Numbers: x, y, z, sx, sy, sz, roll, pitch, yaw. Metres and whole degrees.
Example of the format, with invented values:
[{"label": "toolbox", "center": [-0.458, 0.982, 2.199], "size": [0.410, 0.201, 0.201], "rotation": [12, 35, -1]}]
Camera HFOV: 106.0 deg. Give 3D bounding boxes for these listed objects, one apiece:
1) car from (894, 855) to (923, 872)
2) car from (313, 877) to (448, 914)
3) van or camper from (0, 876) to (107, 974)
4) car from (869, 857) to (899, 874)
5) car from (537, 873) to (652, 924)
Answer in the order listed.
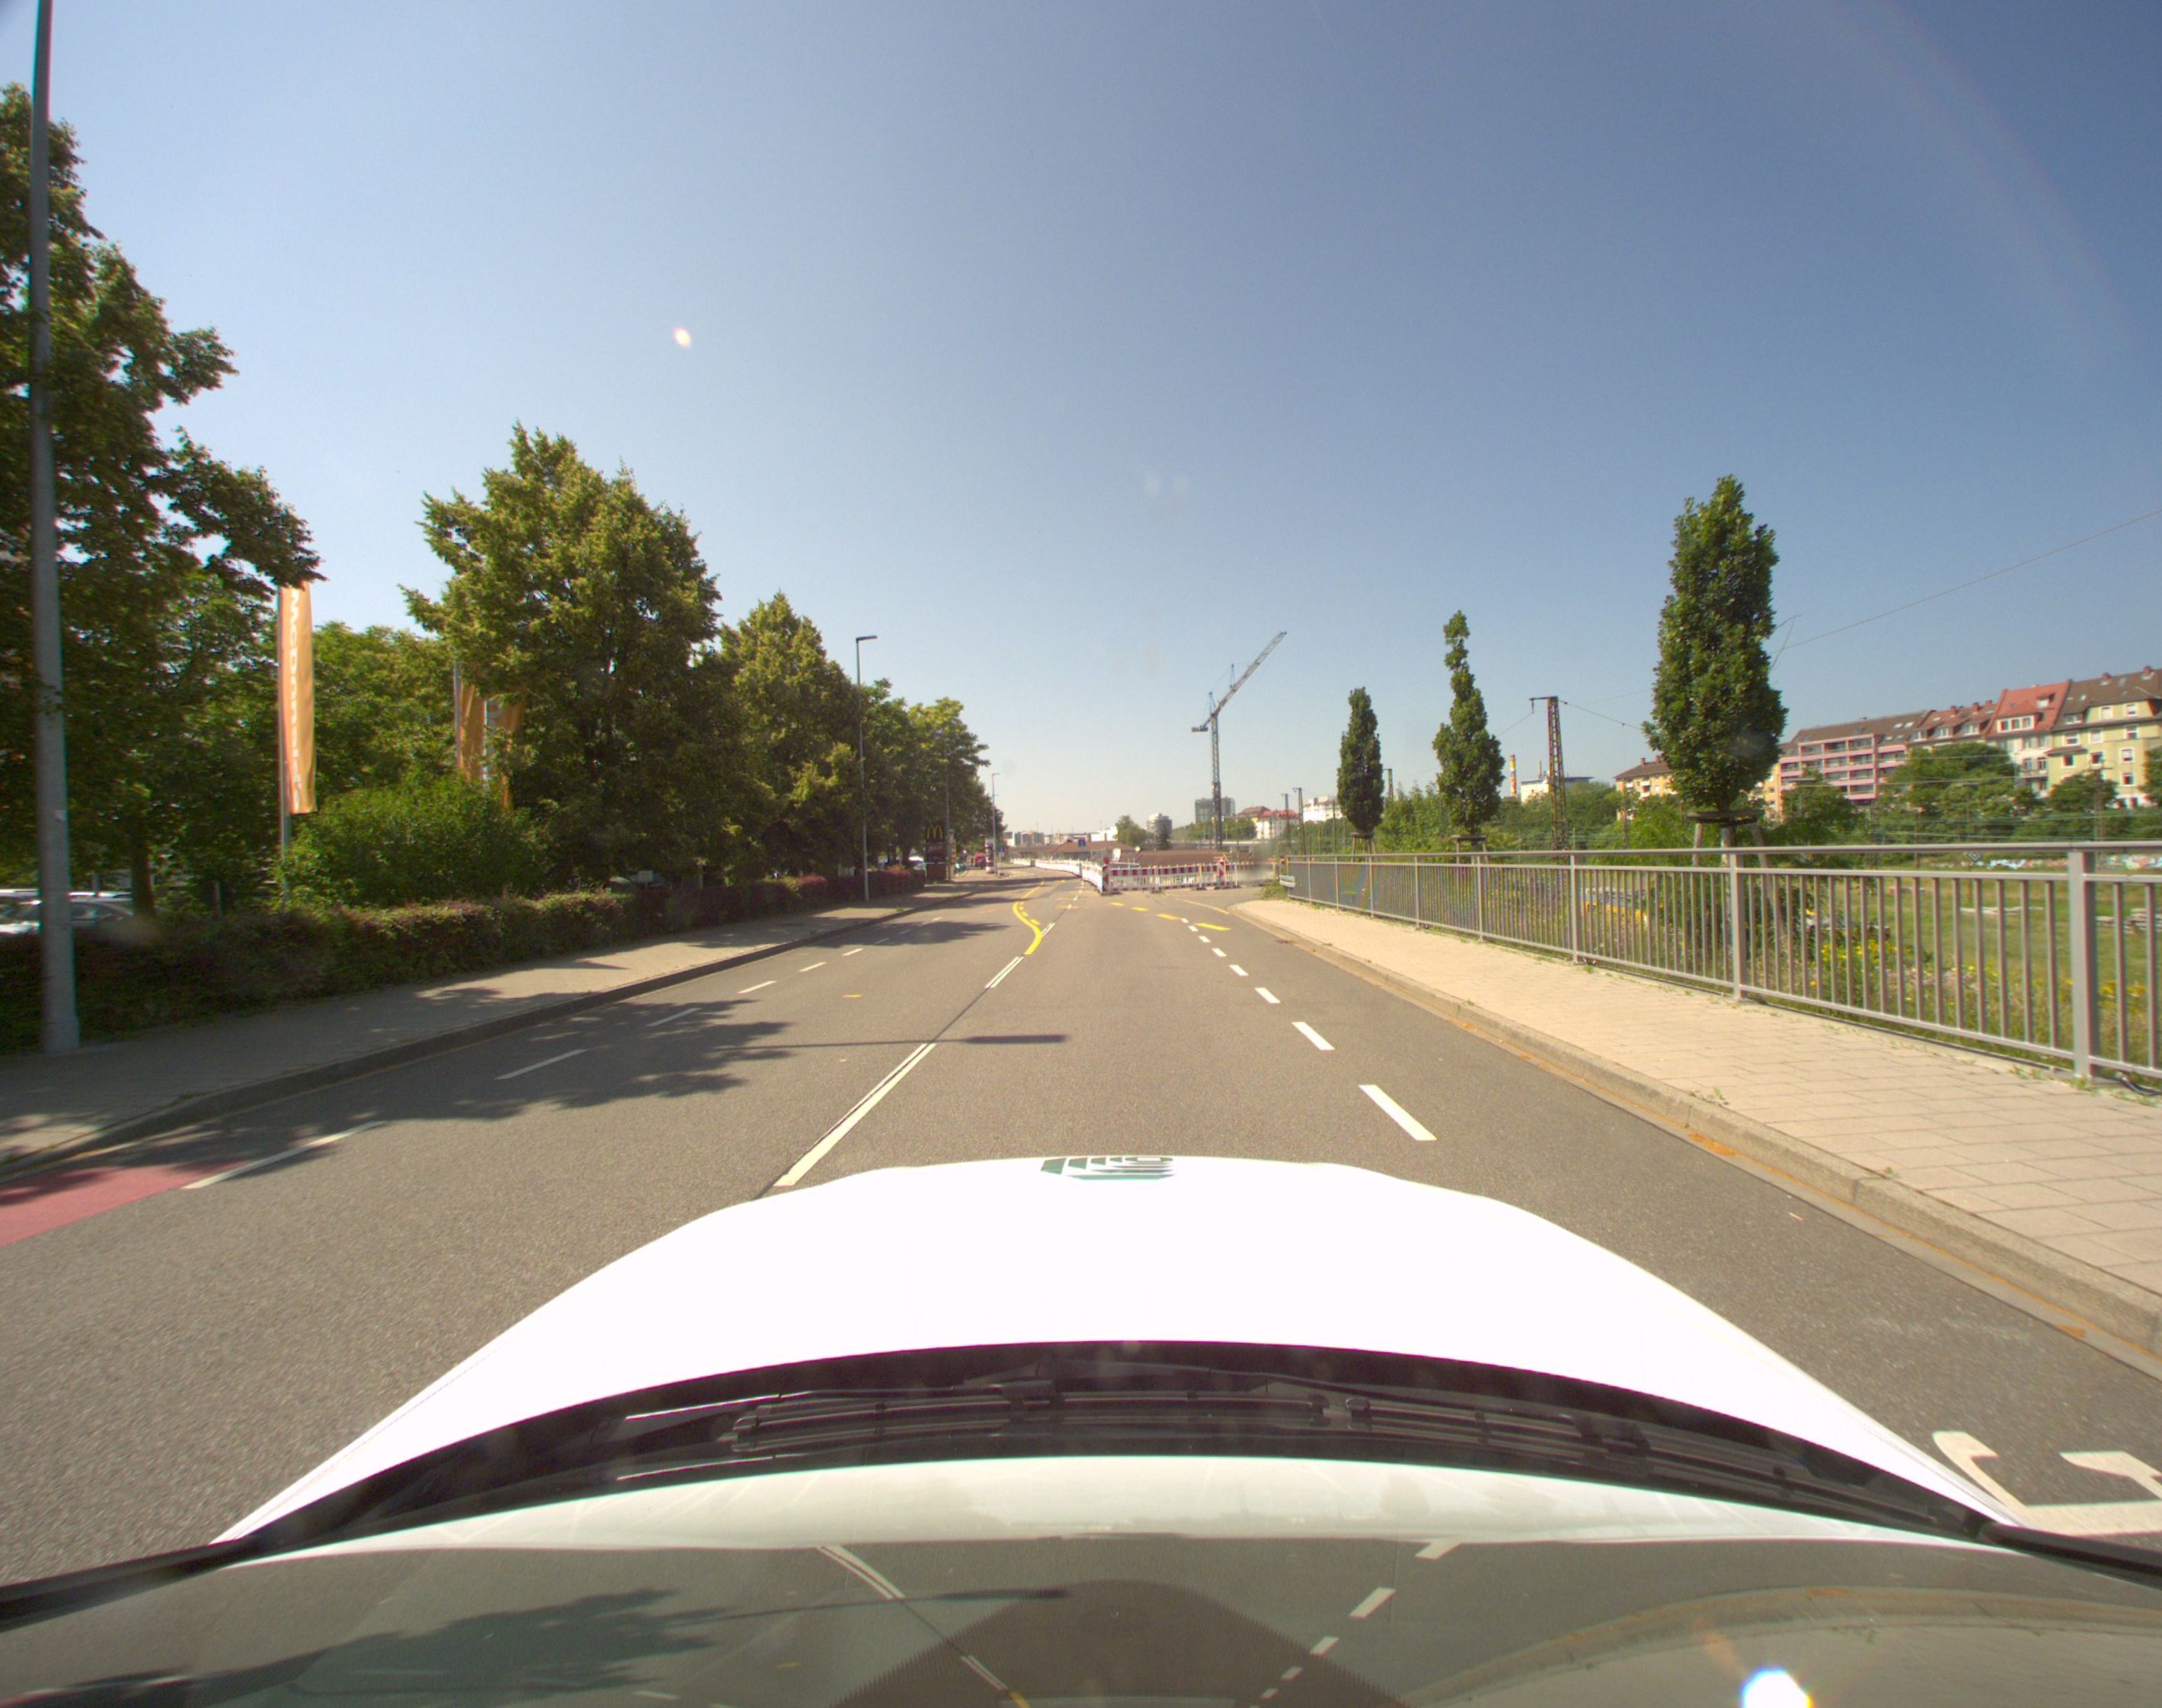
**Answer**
[{"label": "car", "center": [-21.102, 1.178, 99.647], "size": [1.838, 1.929, 3.954], "rotation": [-2, -1, -38]}, {"label": "car", "center": [-32.780, 1.924, 38.259], "size": [4.278, 1.438, 1.990], "rotation": [-2, 0, -15]}, {"label": "van or camper", "center": [-21.774, 1.391, 15.125], "size": [4.278, 1.740, 1.990], "rotation": [-2, 0, -15]}, {"label": "car", "center": [-23.303, 1.334, 96.313], "size": [2.010, 1.904, 3.954], "rotation": [-2, -1, -38]}, {"label": "car", "center": [-17.761, 1.590, 29.935], "size": [1.674, 1.603, 3.761], "rotation": [-2, 0, 4]}]
